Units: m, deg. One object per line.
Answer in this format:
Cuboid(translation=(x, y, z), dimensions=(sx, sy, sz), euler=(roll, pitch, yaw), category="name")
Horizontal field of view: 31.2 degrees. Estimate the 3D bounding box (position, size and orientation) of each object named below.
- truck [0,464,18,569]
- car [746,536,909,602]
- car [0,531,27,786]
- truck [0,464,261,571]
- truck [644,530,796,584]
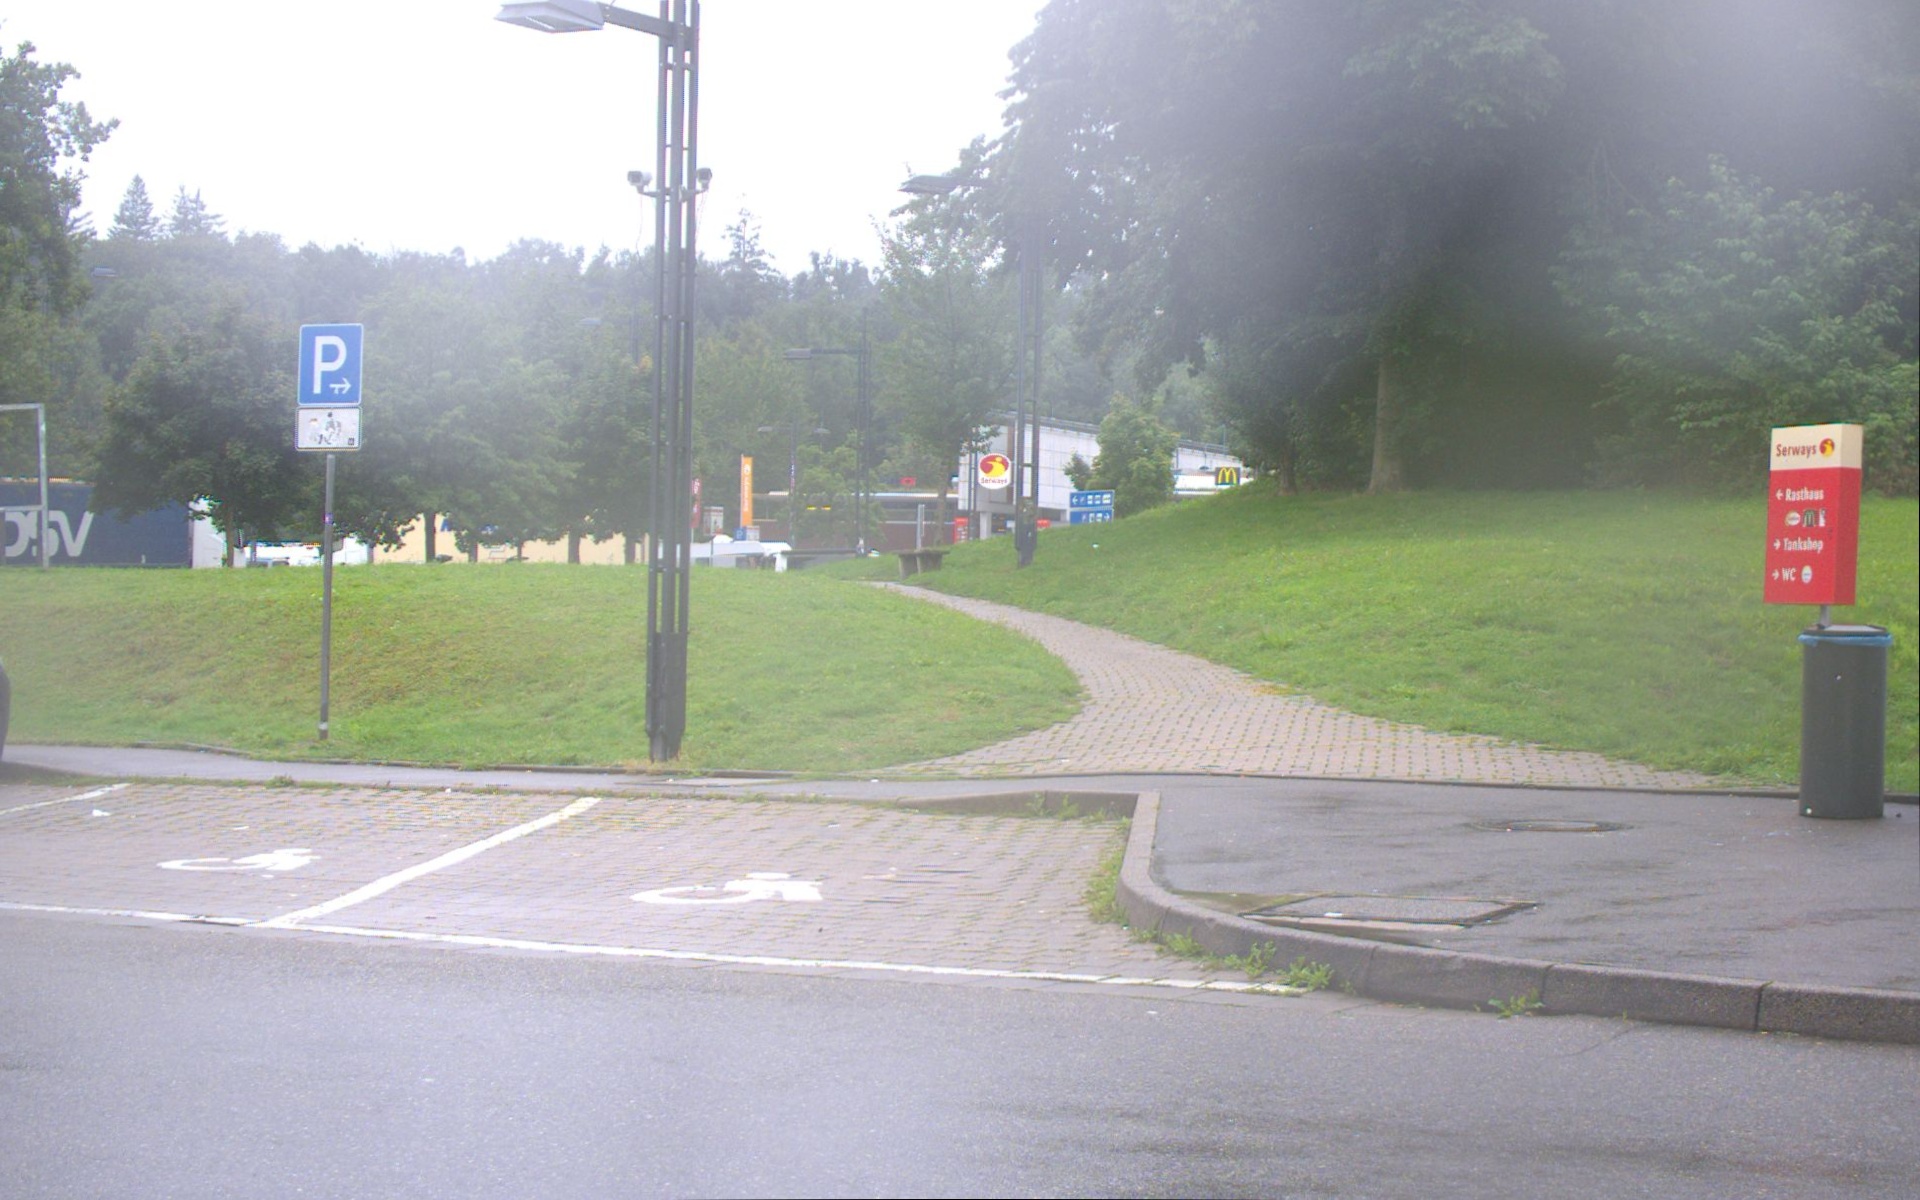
Cuboid(translation=(-28.602, -2.344, 94.666), dimensions=(2.189, 2.910, 5.380), euler=(1, 1, 24), category="truck")
Cuboid(translation=(-3.691, -0.859, 95.645), dimensions=(4.122, 1.777, 1.845), euler=(1, 1, -27), category="car")
Cuboid(translation=(-7.798, 0.456, 21.500), dimensions=(2.018, 1.705, 4.341), euler=(-1, 1, 12), category="car")
Cuboid(translation=(-25.464, -2.369, 101.636), dimensions=(2.188, 2.910, 13.082), euler=(1, 1, 24), category="truck")
Cuboid(translation=(-9.327, -1.666, 133.814), dimensions=(5.413, 2.007, 2.364), euler=(1, 1, 25), category="truck")
